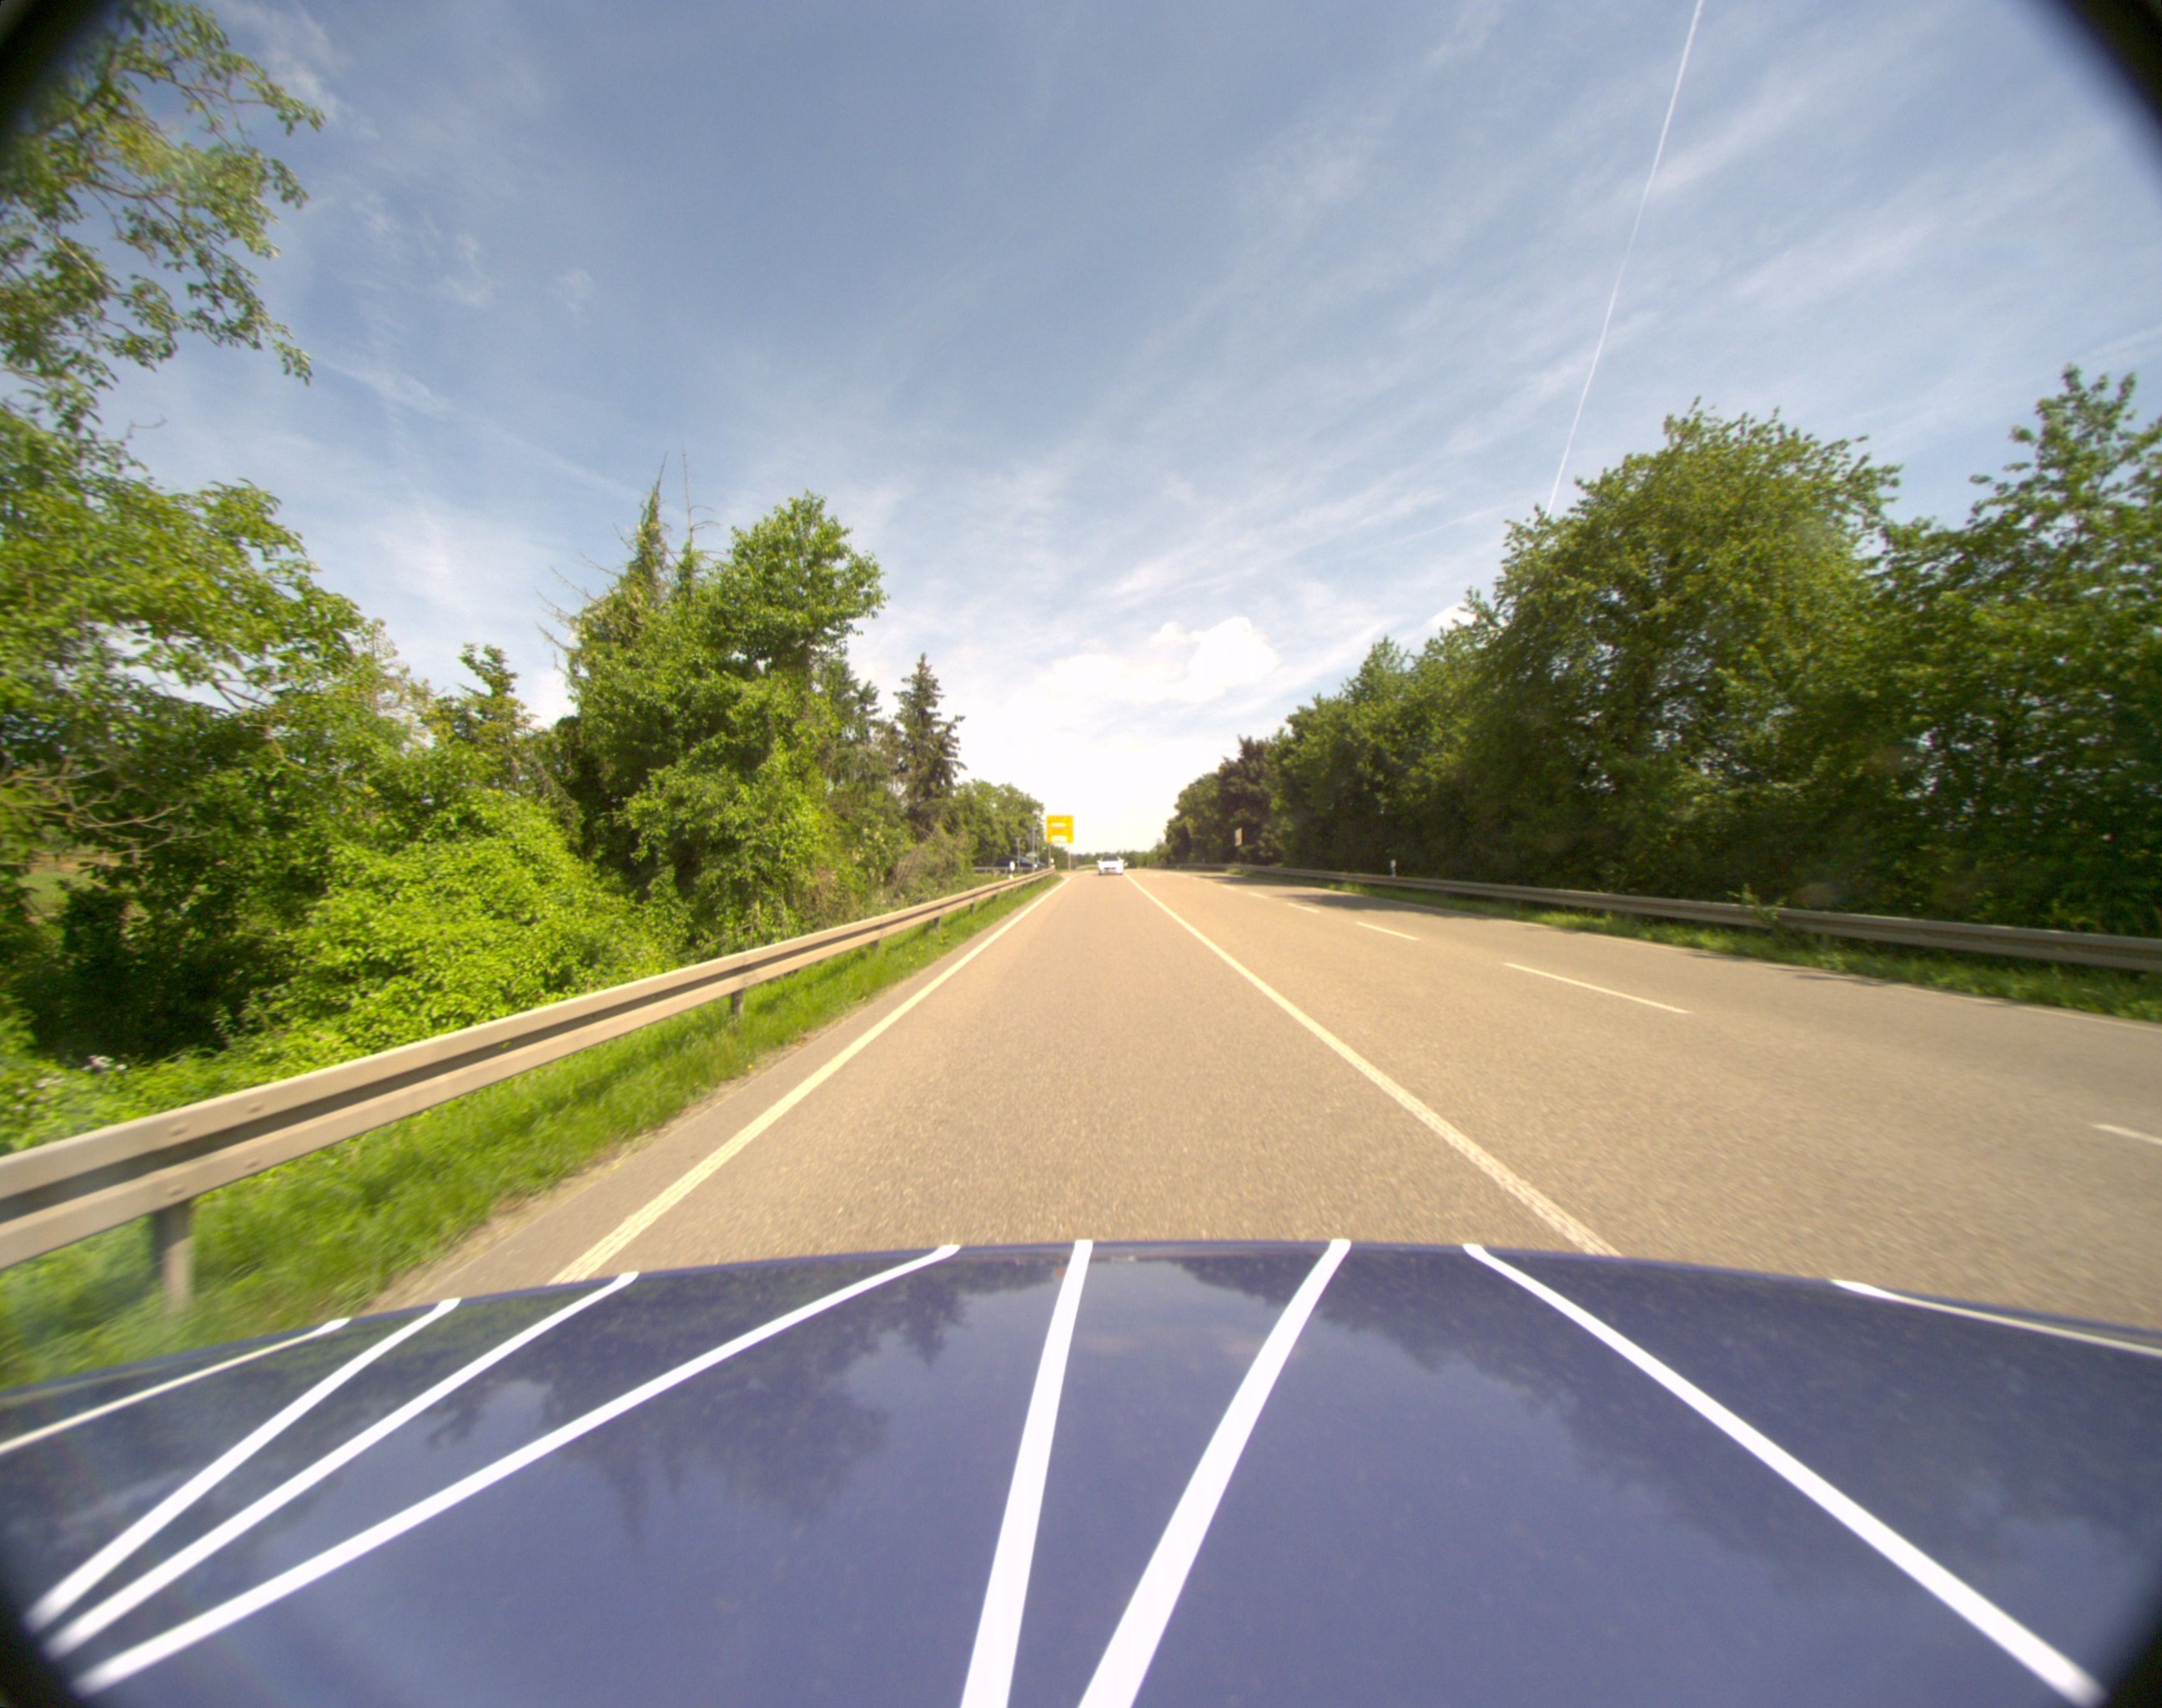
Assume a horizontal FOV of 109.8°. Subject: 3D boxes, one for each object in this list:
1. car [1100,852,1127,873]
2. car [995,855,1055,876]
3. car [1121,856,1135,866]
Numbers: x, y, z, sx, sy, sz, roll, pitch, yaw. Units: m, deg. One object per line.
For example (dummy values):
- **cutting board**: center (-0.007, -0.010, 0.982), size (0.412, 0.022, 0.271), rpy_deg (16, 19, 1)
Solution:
- **car**: center (2.423, 0.607, 57.422), size (1.929, 1.441, 4.534), rpy_deg (-1, 0, 1)
- **car**: center (-4.568, 0.898, 61.492), size (4.418, 1.580, 2.068), rpy_deg (-2, 0, 29)
- **car**: center (6.922, 1.073, 111.781), size (1.929, 1.441, 4.078), rpy_deg (0, -1, 1)
